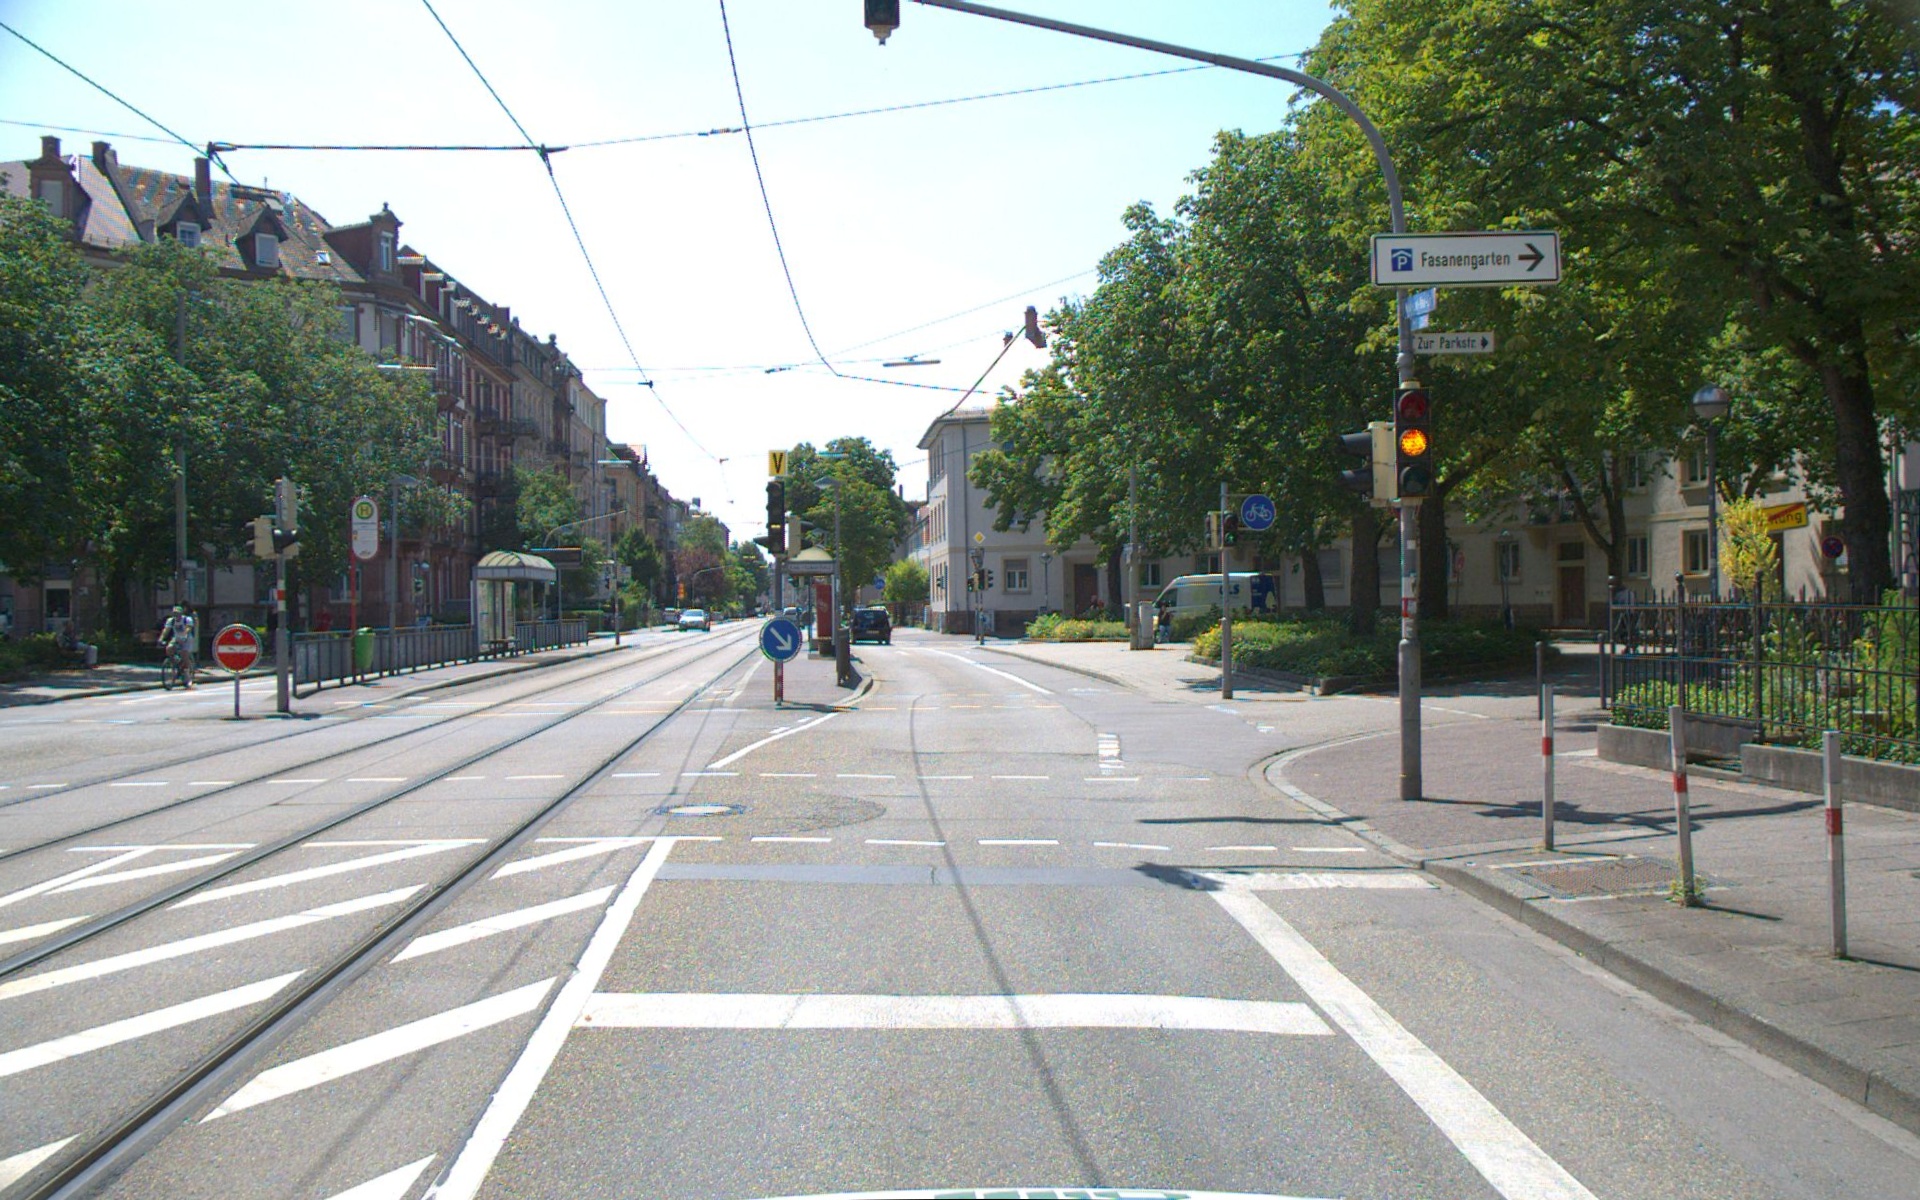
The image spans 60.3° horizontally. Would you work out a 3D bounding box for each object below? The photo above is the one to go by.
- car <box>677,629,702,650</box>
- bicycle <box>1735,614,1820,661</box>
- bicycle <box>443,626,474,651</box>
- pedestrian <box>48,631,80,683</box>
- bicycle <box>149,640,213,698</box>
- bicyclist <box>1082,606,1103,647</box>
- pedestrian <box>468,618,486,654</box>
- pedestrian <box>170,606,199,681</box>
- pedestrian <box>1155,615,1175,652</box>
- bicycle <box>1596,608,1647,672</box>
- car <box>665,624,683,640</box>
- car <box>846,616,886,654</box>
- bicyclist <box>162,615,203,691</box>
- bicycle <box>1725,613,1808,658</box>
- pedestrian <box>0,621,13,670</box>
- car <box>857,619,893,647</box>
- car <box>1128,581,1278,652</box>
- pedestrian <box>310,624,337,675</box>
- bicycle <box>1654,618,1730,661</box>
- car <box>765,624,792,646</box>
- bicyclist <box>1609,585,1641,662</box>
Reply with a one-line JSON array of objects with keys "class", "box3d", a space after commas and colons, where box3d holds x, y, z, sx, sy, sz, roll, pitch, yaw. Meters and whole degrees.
[{"class": "car", "box3d": [-17.952, 2.620, 109.798, 1.511, 1.362, 3.712, 0, -1, -7]}, {"class": "bicycle", "box3d": [23.436, 1.073, 47.440, 2.106, 1.323, 0.547, 0, -2, 6]}, {"class": "bicycle", "box3d": [-24.157, 1.848, 79.649, 0.357, 1.190, 1.514, 0, -1, 35]}, {"class": "pedestrian", "box3d": [-22.662, 1.435, 41.815, 0.635, 1.278, 0.546, -2, -2, 44]}, {"class": "bicycle", "box3d": [-16.600, 1.448, 35.278, 0.616, 1.178, 1.975, 0, -1, -6]}, {"class": "bicyclist", "box3d": [5.504, 1.102, 68.736, 0.680, 1.675, 0.579, -1, -2, 27]}, {"class": "pedestrian", "box3d": [-22.676, 1.695, 77.628, 0.461, 1.643, 0.650, 2, 0, 42]}, {"class": "pedestrian", "box3d": [-19.829, 1.118, 42.290, 0.500, 1.912, 0.493, 0, -2, -1]}, {"class": "pedestrian", "box3d": [6.343, 1.030, 51.198, 0.499, 1.111, 0.478, -2, 0, 0]}, {"class": "bicycle", "box3d": [15.944, 0.971, 39.917, 0.579, 1.511, 2.169, 0, -1, 7]}, {"class": "car", "box3d": [-29.476, 3.317, 170.702, 1.653, 1.498, 3.930, -4, -1, -8]}, {"class": "car", "box3d": [-3.888, 1.456, 68.002, 1.495, 1.470, 3.360, -2, -1, -6]}, {"class": "bicyclist", "box3d": [-16.616, 1.136, 35.355, 0.596, 1.602, 0.584, 0, -2, -6]}, {"class": "bicycle", "box3d": [23.575, 1.037, 48.353, 2.106, 1.323, 0.547, 0, -2, 6]}, {"class": "pedestrian", "box3d": [-36.201, 1.733, 62.618, 0.556, 1.857, 0.629, 1, -2, -28]}, {"class": "car", "box3d": [-4.875, 1.893, 94.513, 1.714, 1.498, 3.932, -4, -1, -7]}, {"class": "car", "box3d": [9.422, 0.663, 64.534, 5.752, 2.635, 1.986, -1, -1, 45]}, {"class": "pedestrian", "box3d": [-20.697, 1.602, 53.778, 0.667, 1.634, 0.771, 0, -2, -9]}, {"class": "bicycle", "box3d": [23.020, 1.239, 52.030, 2.106, 1.323, 0.547, 0, -2, 6]}, {"class": "car", "box3d": [-12.421, 2.406, 113.099, 1.497, 1.481, 3.355, -2, -1, -11]}, {"class": "bicyclist", "box3d": [15.896, 0.559, 39.540, 0.589, 1.831, 0.534, 0, -2, 8]}]
